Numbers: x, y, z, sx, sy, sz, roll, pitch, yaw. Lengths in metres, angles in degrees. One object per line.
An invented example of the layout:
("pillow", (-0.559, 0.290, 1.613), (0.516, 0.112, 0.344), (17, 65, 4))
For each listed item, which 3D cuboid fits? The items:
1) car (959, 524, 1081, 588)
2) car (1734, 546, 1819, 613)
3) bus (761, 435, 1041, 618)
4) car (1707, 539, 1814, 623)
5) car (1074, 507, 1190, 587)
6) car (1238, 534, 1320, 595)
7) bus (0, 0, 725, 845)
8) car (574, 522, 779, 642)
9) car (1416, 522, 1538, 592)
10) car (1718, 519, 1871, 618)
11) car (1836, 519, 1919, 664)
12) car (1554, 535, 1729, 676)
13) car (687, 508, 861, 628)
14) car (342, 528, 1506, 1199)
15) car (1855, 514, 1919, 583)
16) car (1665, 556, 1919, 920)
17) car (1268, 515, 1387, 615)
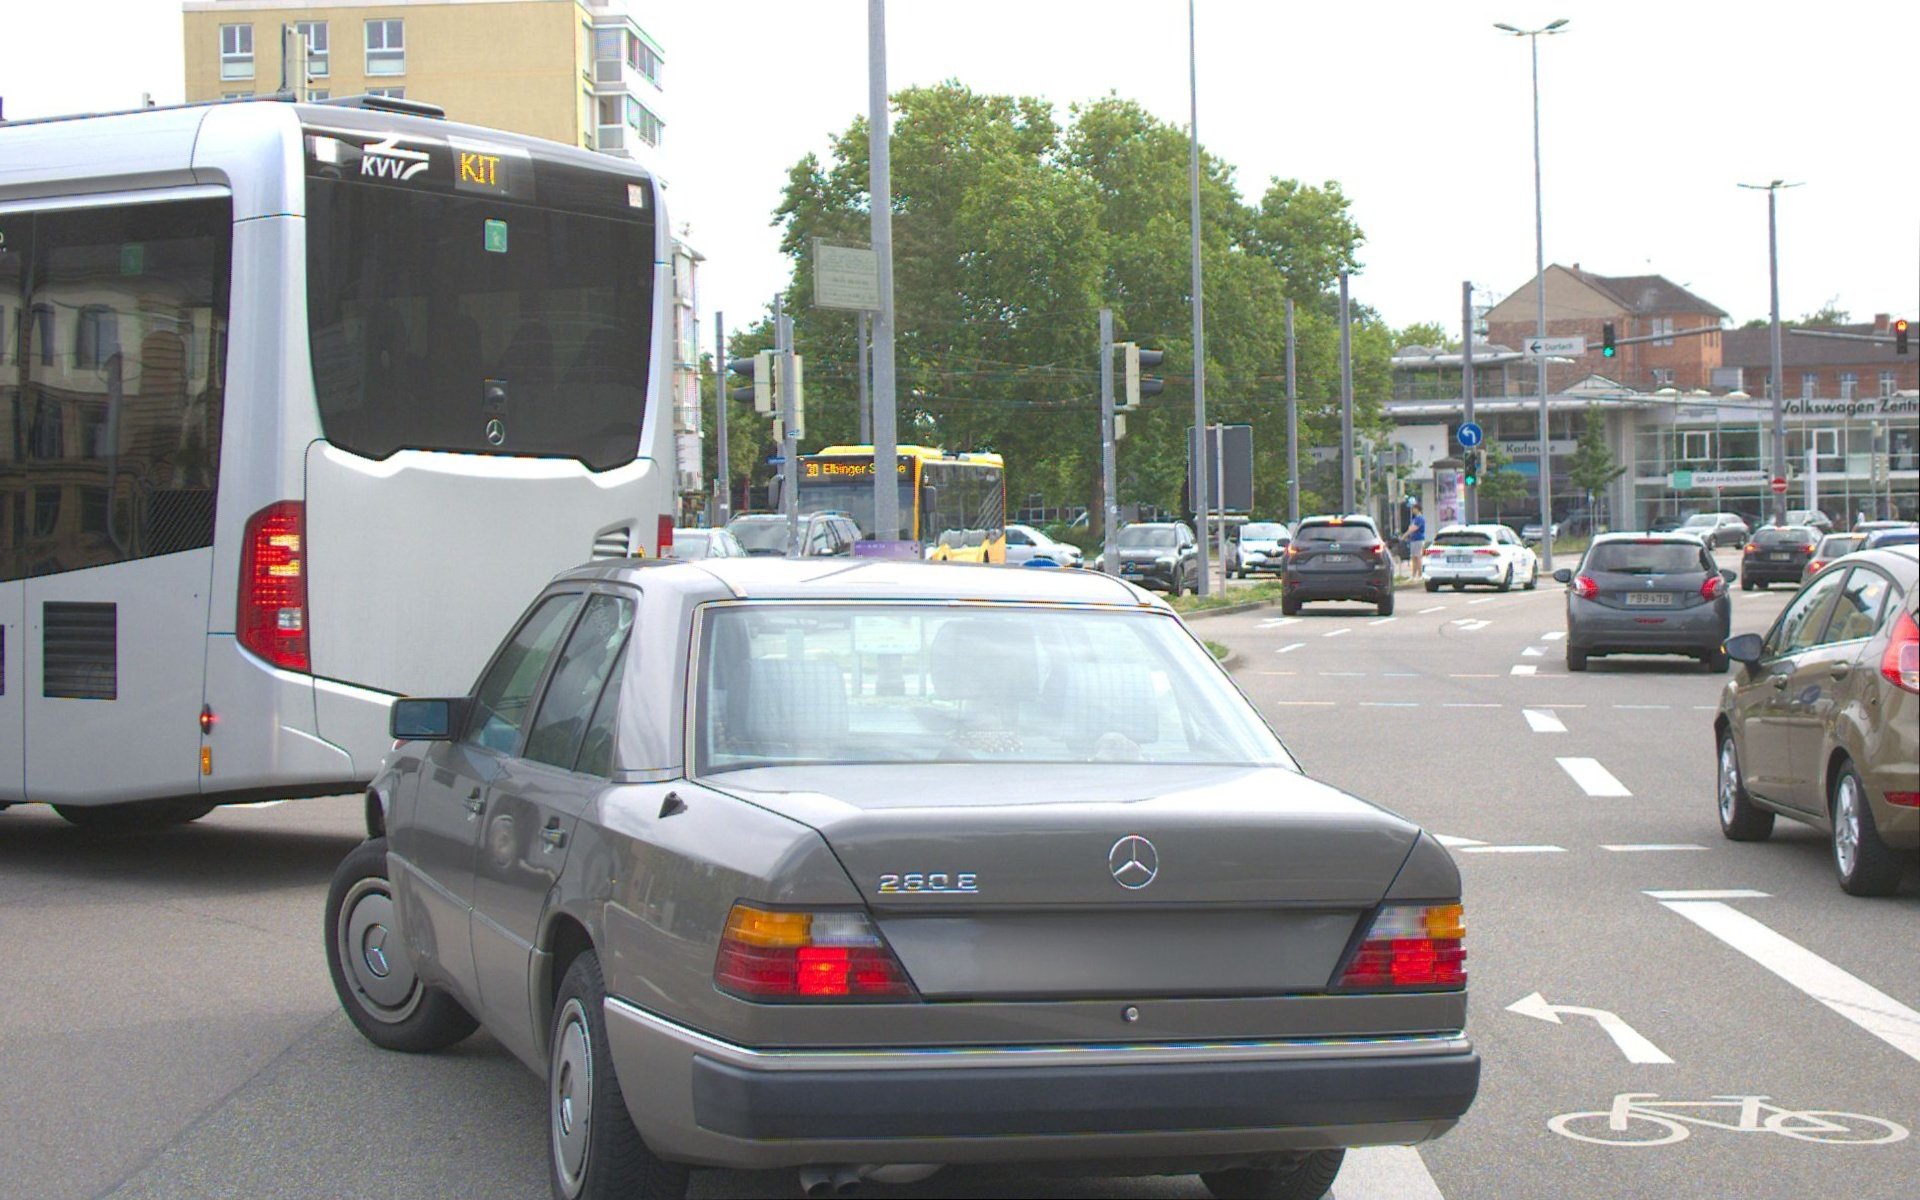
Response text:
("car", (1.928, -1.417, 111.055), (1.994, 2.007, 4.000), (0, 1, -34))
("car", (17.961, -0.457, 75.536), (1.712, 1.415, 3.997), (1, 1, 15))
("bus", (-0.921, -1.383, 67.825), (3.149, 3.244, 12.408), (1, 1, 10))
("car", (14.173, -0.336, 60.742), (1.712, 1.415, 3.997), (1, 1, 15))
("car", (3.721, -1.119, 73.776), (1.994, 1.645, 4.510), (1, 1, 9))
("car", (8.964, -0.985, 96.389), (1.994, 1.645, 4.510), (1, 1, 9))
("bus", (-7.627, -0.661, 18.496), (14.166, 3.426, 2.708), (-2, 1, 36))
("car", (-4.074, -0.276, 50.105), (1.994, 1.645, 4.289), (1, 1, 9))
("car", (11.027, -0.907, 73.115), (1.712, 1.415, 3.996), (1, 1, 21))
("car", (12.525, -0.475, 51.499), (2.134, 1.415, 3.698), (1, 1, 15))
("car", (10.743, -0.101, 38.334), (1.859, 1.527, 3.999), (1, 1, 14))
("car", (7.397, 0.039, 37.080), (1.711, 1.415, 3.998), (1, 1, 13))
("car", (-3.023, -0.530, 56.784), (1.994, 1.892, 4.289), (1, 1, 9))
("car", (-0.407, 0.586, 8.395), (1.694, 1.475, 4.417), (1, 1, -16))
("car", (19.948, -1.090, 73.190), (1.705, 1.415, 3.698), (1, 1, 15))
("car", (4.335, 0.519, 15.086), (1.695, 1.400, 3.700), (1, 1, 0))
("car", (6.228, -0.595, 58.031), (1.835, 1.609, 3.545), (1, 1, 8))
